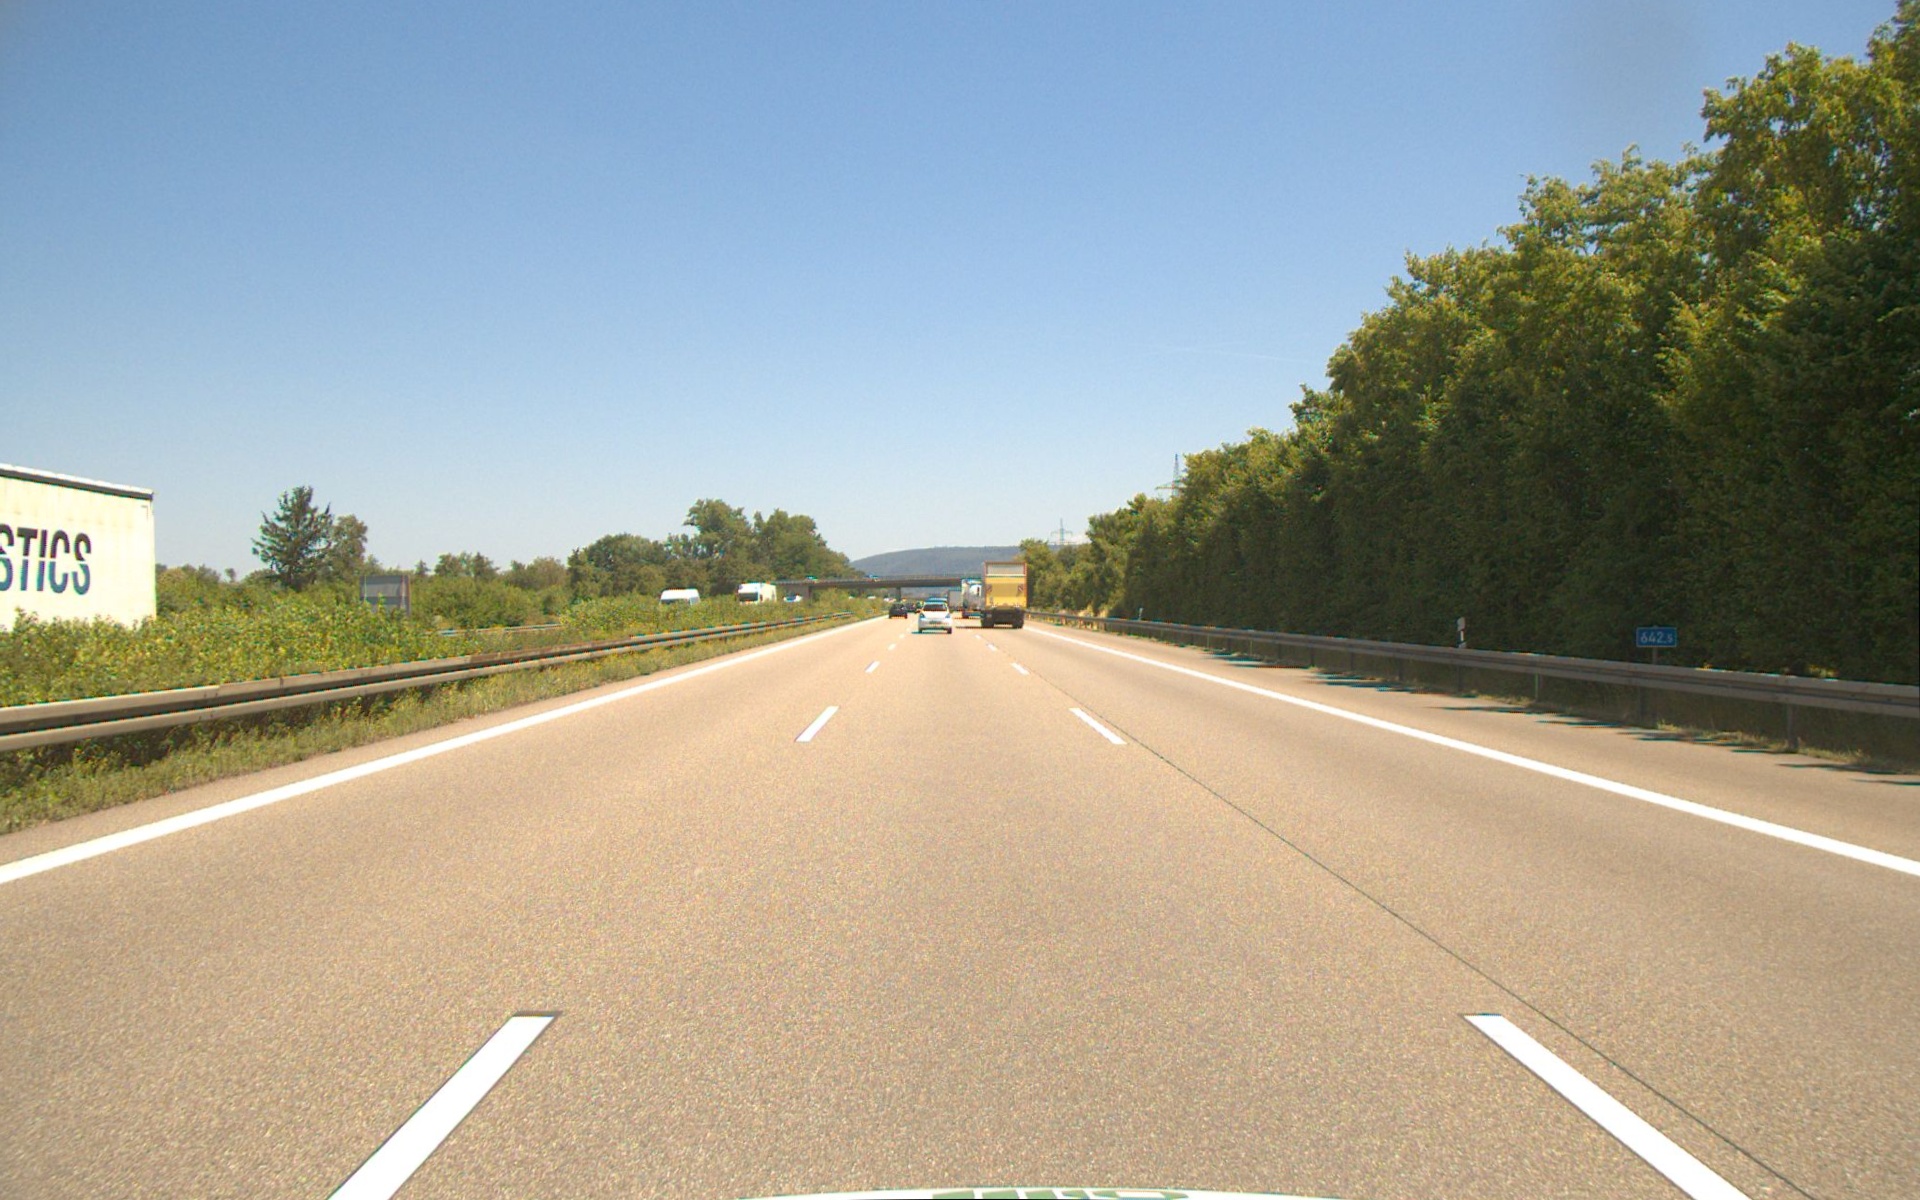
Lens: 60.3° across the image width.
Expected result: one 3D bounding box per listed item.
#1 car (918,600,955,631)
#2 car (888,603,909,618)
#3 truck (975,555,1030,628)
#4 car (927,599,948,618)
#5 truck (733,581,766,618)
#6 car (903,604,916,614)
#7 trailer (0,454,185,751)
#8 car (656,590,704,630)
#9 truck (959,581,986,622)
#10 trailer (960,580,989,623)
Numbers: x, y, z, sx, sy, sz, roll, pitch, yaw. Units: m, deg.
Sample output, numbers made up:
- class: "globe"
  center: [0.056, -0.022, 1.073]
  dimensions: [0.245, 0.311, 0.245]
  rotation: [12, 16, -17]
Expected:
- class: "car"
  center: [-1.191, 0.781, 82.858]
  dimensions: [1.770, 1.494, 3.999]
  rotation: [1, 0, -1]
- class: "car"
  center: [-5.823, 0.993, 157.205]
  dimensions: [1.798, 1.411, 3.999]
  rotation: [1, 0, -1]
- class: "truck"
  center: [2.591, -0.486, 104.426]
  dimensions: [2.874, 4.273, 10.678]
  rotation: [1, 0, -1]
- class: "car"
  center: [-1.968, 0.743, 144.201]
  dimensions: [1.814, 1.661, 3.999]
  rotation: [1, 0, -1]
- class: "truck"
  center: [-22.841, -0.063, 179.582]
  dimensions: [2.874, 3.937, 5.750]
  rotation: [1, 0, -1]
- class: "car"
  center: [-7.024, 1.232, 230.013]
  dimensions: [1.798, 1.411, 3.999]
  rotation: [1, 0, -1]
- class: "trailer"
  center: [-16.243, 0.019, 24.812]
  dimensions: [2.764, 4.605, 13.863]
  rotation: [1, 0, -1]
- class: "car"
  center: [-17.620, 0.628, 104.312]
  dimensions: [2.038, 2.436, 6.730]
  rotation: [1, 0, -2]
- class: "truck"
  center: [1.261, 0.164, 170.406]
  dimensions: [2.521, 4.143, 6.390]
  rotation: [1, 0, -1]
- class: "trailer"
  center: [1.393, 0.151, 165.009]
  dimensions: [2.528, 4.146, 11.099]
  rotation: [1, 0, -1]
